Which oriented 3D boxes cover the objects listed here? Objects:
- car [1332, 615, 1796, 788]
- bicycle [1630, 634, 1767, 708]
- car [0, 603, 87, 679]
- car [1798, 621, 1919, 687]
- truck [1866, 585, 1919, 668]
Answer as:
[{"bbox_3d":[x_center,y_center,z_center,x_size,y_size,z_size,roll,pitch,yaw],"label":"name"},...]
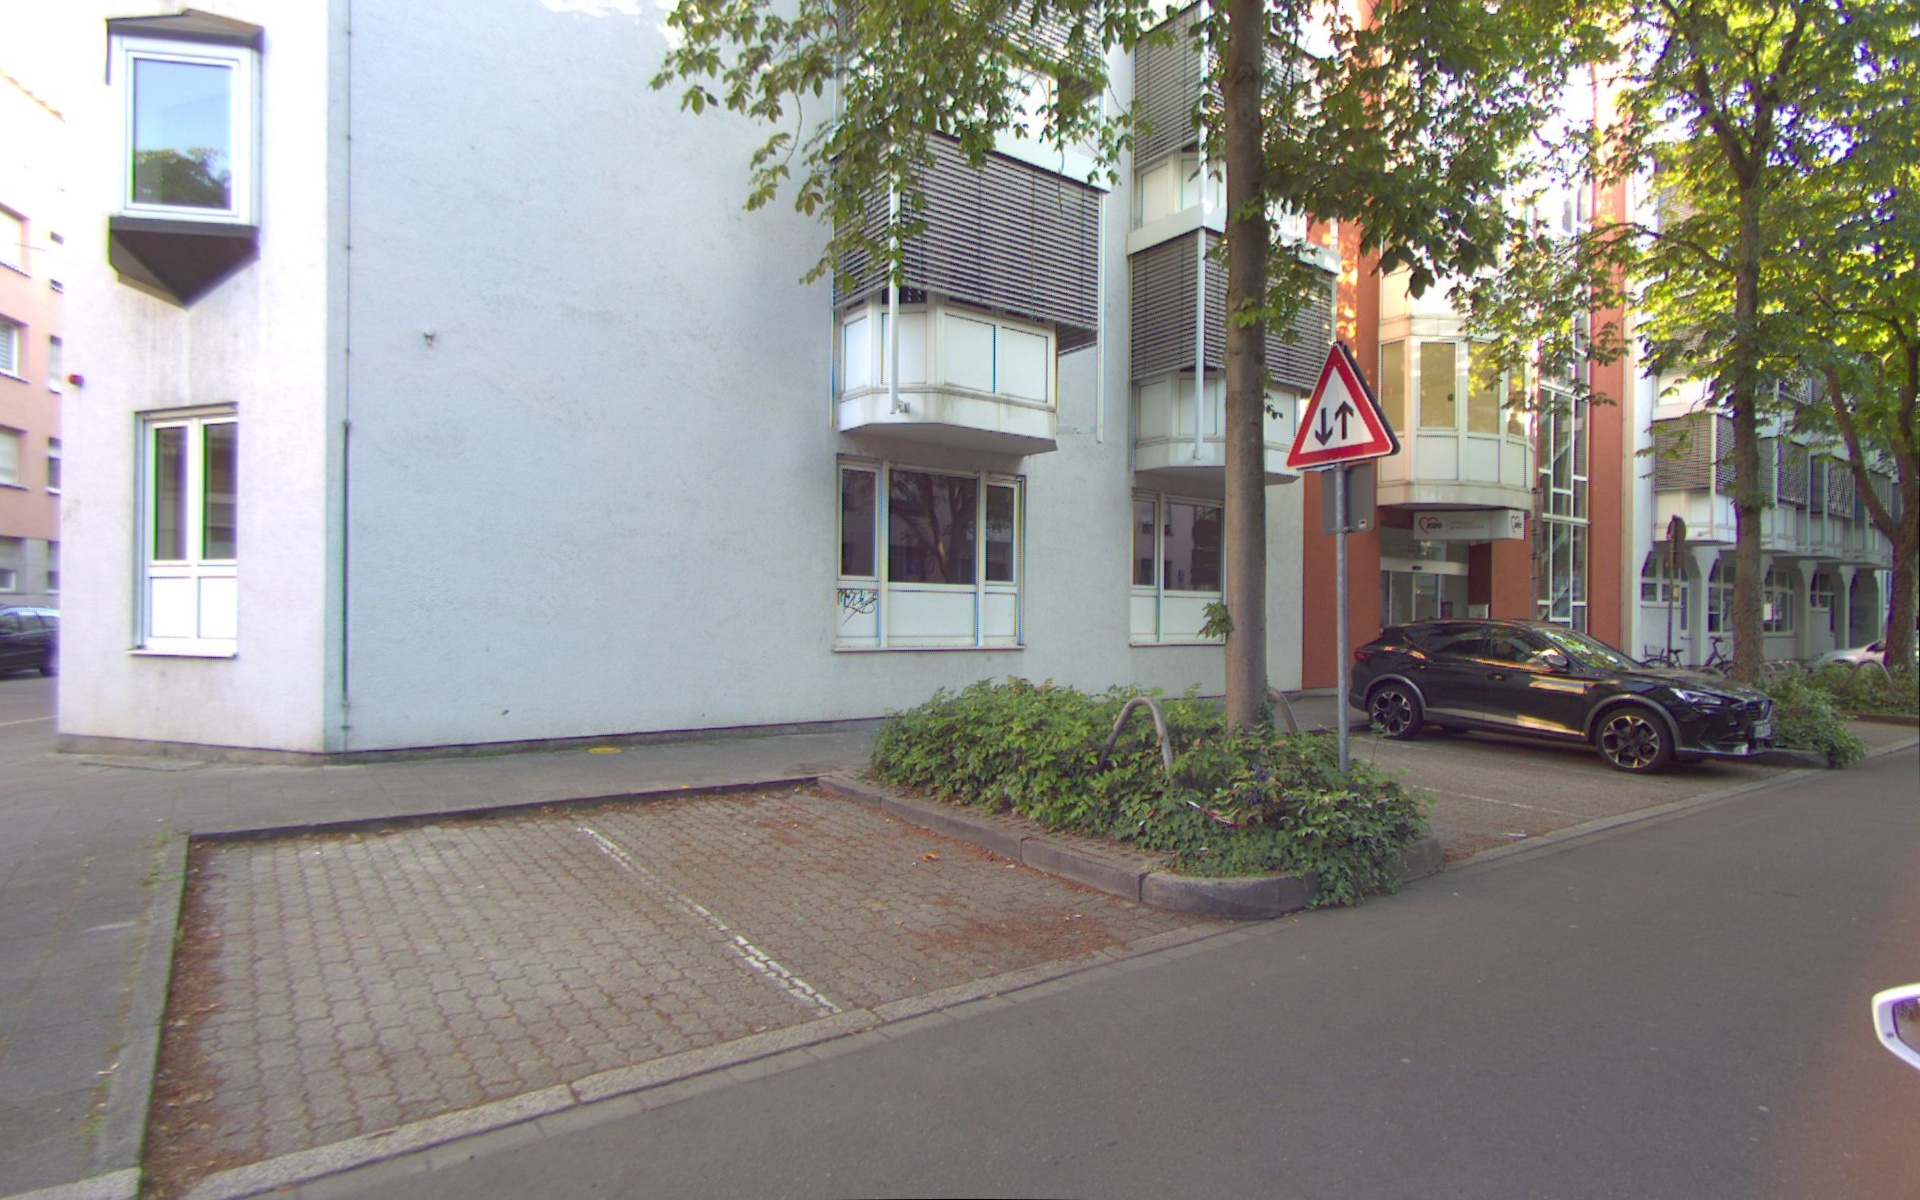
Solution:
[{"bbox_3d":[6.834,1.002,11.836,1.817,1.529,4.326,1,0,-36],"label":"car"},{"bbox_3d":[13.291,1.253,18.116,1.949,1.215,0.499,0,-1,44],"label":"bicycle"},{"bbox_3d":[-20.138,0.827,20.522,1.666,1.534,4.272,0,-1,-14],"label":"car"},{"bbox_3d":[23.278,1.318,24.481,1.624,1.491,4.104,1,0,-36],"label":"car"},{"bbox_3d":[29.947,0.794,29.249,1.896,2.474,4.967,0,1,-34],"label":"truck"}]
